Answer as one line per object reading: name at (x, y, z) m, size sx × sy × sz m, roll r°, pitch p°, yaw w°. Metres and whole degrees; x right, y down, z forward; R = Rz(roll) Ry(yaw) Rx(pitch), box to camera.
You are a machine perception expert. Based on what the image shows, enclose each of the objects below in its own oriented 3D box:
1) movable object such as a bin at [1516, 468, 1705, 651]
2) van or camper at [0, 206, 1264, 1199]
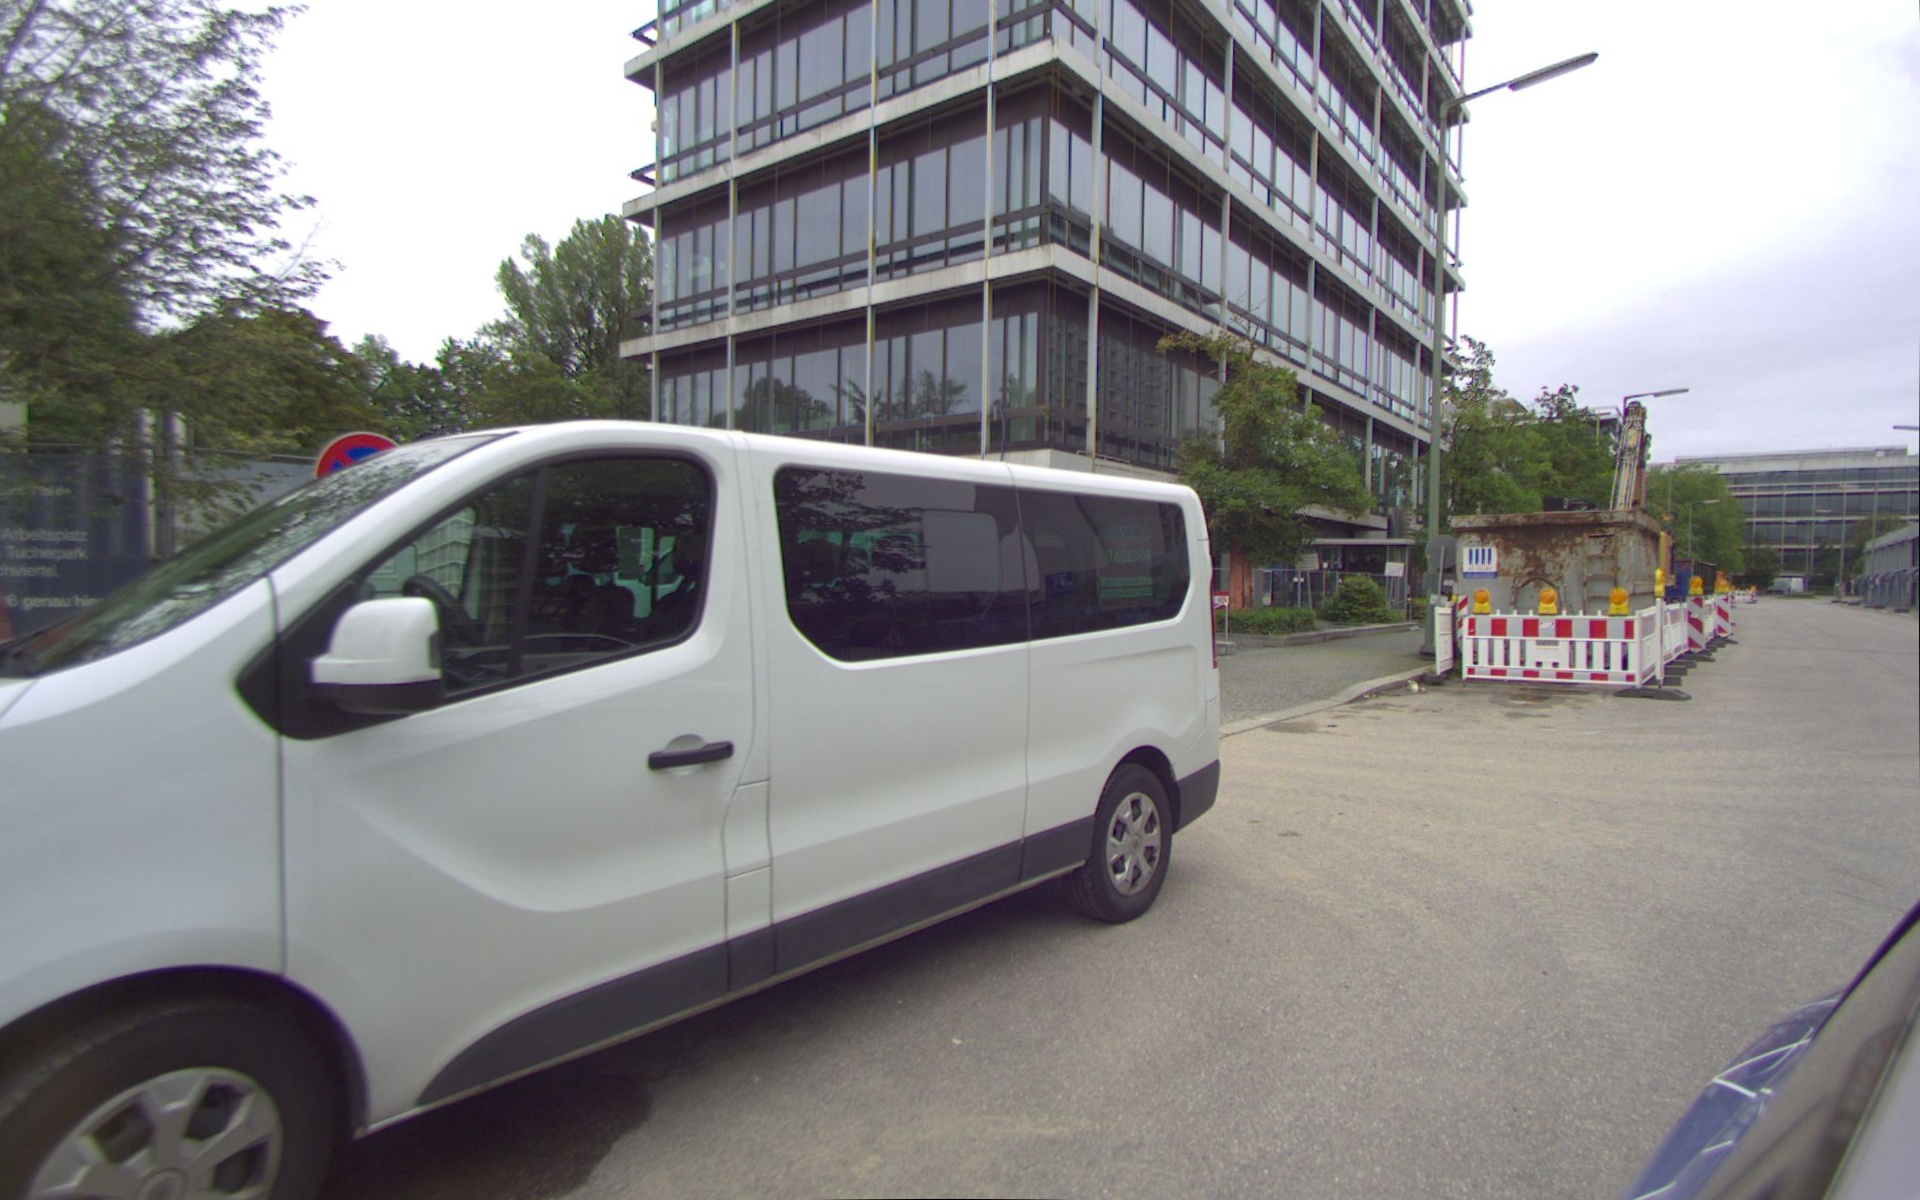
movable object such as a bin at (16.531, -0.985, 25.364) m, size 3.234 × 3.762 × 8.887 m, roll 1°, pitch 2°, yaw 37°
van or camper at (-1.037, 0.294, 3.760) m, size 1.994 × 2.038 × 5.293 m, roll 1°, pitch 2°, yaw 44°
